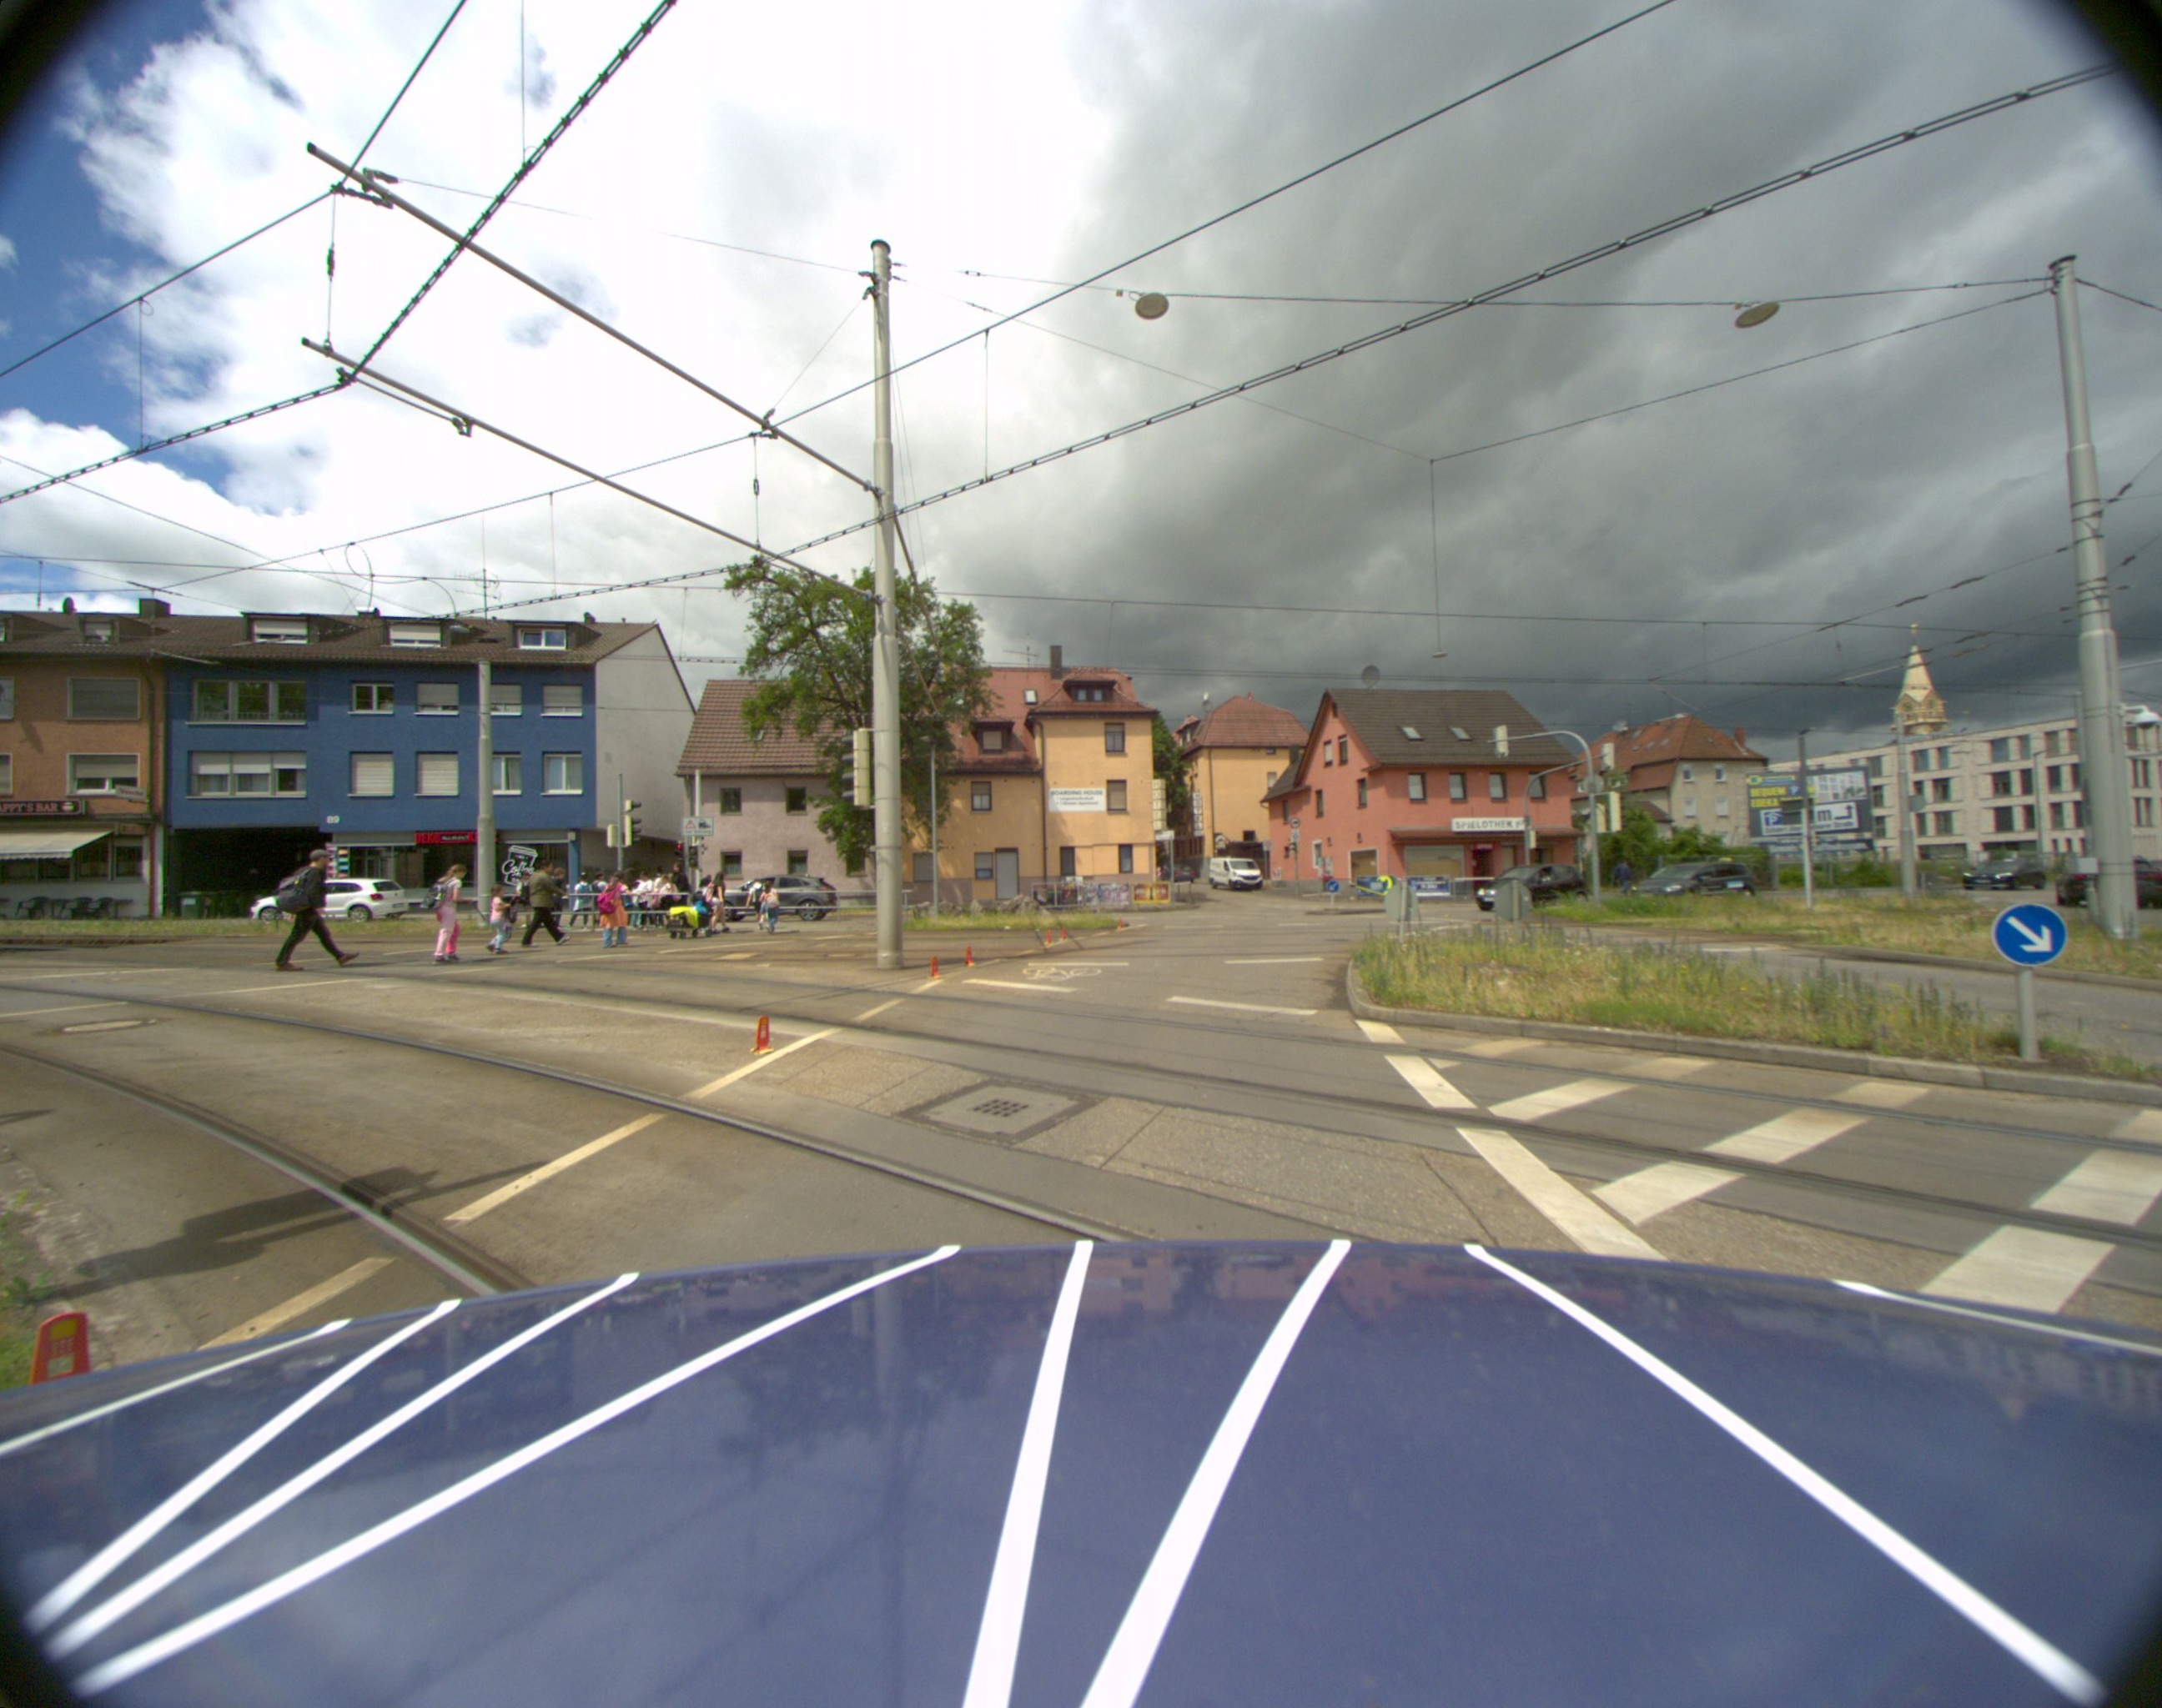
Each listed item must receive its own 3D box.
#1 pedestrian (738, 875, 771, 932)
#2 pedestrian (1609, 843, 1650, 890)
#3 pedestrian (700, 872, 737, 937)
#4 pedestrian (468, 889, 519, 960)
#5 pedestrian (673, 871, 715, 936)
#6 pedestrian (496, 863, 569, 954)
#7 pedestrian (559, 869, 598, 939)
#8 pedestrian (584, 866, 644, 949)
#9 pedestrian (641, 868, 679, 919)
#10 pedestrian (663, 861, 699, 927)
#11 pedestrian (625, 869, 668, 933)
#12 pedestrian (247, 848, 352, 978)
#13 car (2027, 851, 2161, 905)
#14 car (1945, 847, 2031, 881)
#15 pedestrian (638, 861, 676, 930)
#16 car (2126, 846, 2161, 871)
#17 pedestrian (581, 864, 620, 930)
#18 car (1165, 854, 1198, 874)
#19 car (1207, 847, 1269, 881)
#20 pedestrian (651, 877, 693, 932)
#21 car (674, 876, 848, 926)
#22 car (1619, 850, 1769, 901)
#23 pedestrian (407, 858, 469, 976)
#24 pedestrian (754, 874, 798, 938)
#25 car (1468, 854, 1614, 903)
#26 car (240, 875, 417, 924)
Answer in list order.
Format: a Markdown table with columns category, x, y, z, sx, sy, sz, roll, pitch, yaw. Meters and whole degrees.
| category | x | y | z | sx | sy | sz | roll | pitch | yaw |
| --- | --- | --- | --- | --- | --- | --- | --- | --- | --- |
| pedestrian | -8.174 | 1.228 | 19.057 | 0.587 | 1.392 | 0.675 | -1 | 0 | -10 |
| pedestrian | 25.723 | 0.569 | 35.633 | 1.128 | 2.135 | 1.052 | -1 | 0 | -6 |
| pedestrian | -8.612 | 1.191 | 18.064 | 0.587 | 1.518 | 0.675 | 0 | 0 | -5 |
| pedestrian | -10.235 | 1.205 | 13.231 | 0.676 | 1.160 | 0.586 | -1 | 0 | -39 |
| pedestrian | -9.275 | 1.163 | 18.201 | 0.585 | 1.483 | 0.677 | 2 | 1 | 31 |
| pedestrian | -10.432 | 1.003 | 14.466 | 0.823 | 1.641 | 0.894 | -1 | 0 | 35 |
| pedestrian | -12.817 | 1.262 | 19.391 | 0.754 | 1.739 | 0.586 | -1 | 0 | -39 |
| pedestrian | -8.775 | 0.978 | 14.274 | 0.856 | 1.472 | 0.740 | -1 | 0 | -39 |
| pedestrian | -11.654 | 1.076 | 21.039 | 0.674 | 1.367 | 0.635 | -1 | 0 | 3 |
| pedestrian | -10.761 | 1.072 | 20.442 | 0.675 | 1.740 | 0.587 | -1 | 1 | -8 |
| pedestrian | -10.863 | 1.178 | 19.000 | 0.674 | 1.556 | 0.588 | -3 | -2 | 19 |
| pedestrian | -11.565 | 0.839 | 11.286 | 0.969 | 1.830 | 0.824 | 1 | -1 | -39 |
| car | 32.762 | 0.706 | 24.317 | 1.948 | 1.560 | 4.497 | 2 | 1 | 36 |
| car | 48.405 | 0.525 | 40.558 | 4.005 | 1.661 | 1.996 | -1 | -2 | -26 |
| pedestrian | -11.029 | 1.060 | 19.782 | 0.675 | 1.740 | 0.587 | -1 | 1 | -8 |
| car | 68.202 | 0.236 | 47.737 | 4.004 | 1.449 | 1.997 | -1 | -2 | -21 |
| pedestrian | -12.941 | 1.153 | 20.464 | 0.675 | 1.740 | 0.587 | -1 | 1 | -8 |
| car | 7.593 | 0.769 | 57.802 | 1.562 | 1.362 | 3.130 | -2 | -2 | -10 |
| car | 9.613 | 0.625 | 46.862 | 2.081 | 1.886 | 4.659 | -2 | 0 | -10 |
| pedestrian | -10.523 | 1.278 | 19.533 | 0.778 | 1.367 | 0.588 | 0 | 1 | 26 |
| car | -10.266 | 1.505 | 24.737 | 4.856 | 1.362 | 1.919 | -2 | -2 | -10 |
| car | 22.215 | 0.766 | 27.592 | 4.422 | 1.639 | 1.998 | -2 | -2 | -16 |
| pedestrian | -9.971 | 0.943 | 11.784 | 0.694 | 1.739 | 0.750 | -1 | 0 | -42 |
| pedestrian | -7.279 | 1.219 | 18.133 | 0.540 | 1.461 | 0.781 | -1 | 0 | 39 |
| car | 15.333 | 0.809 | 25.378 | 4.002 | 1.420 | 1.882 | -2 | -2 | -15 |
| car | -25.356 | 1.506 | 25.723 | 4.000 | 1.522 | 1.712 | -1 | -2 | -9 |
